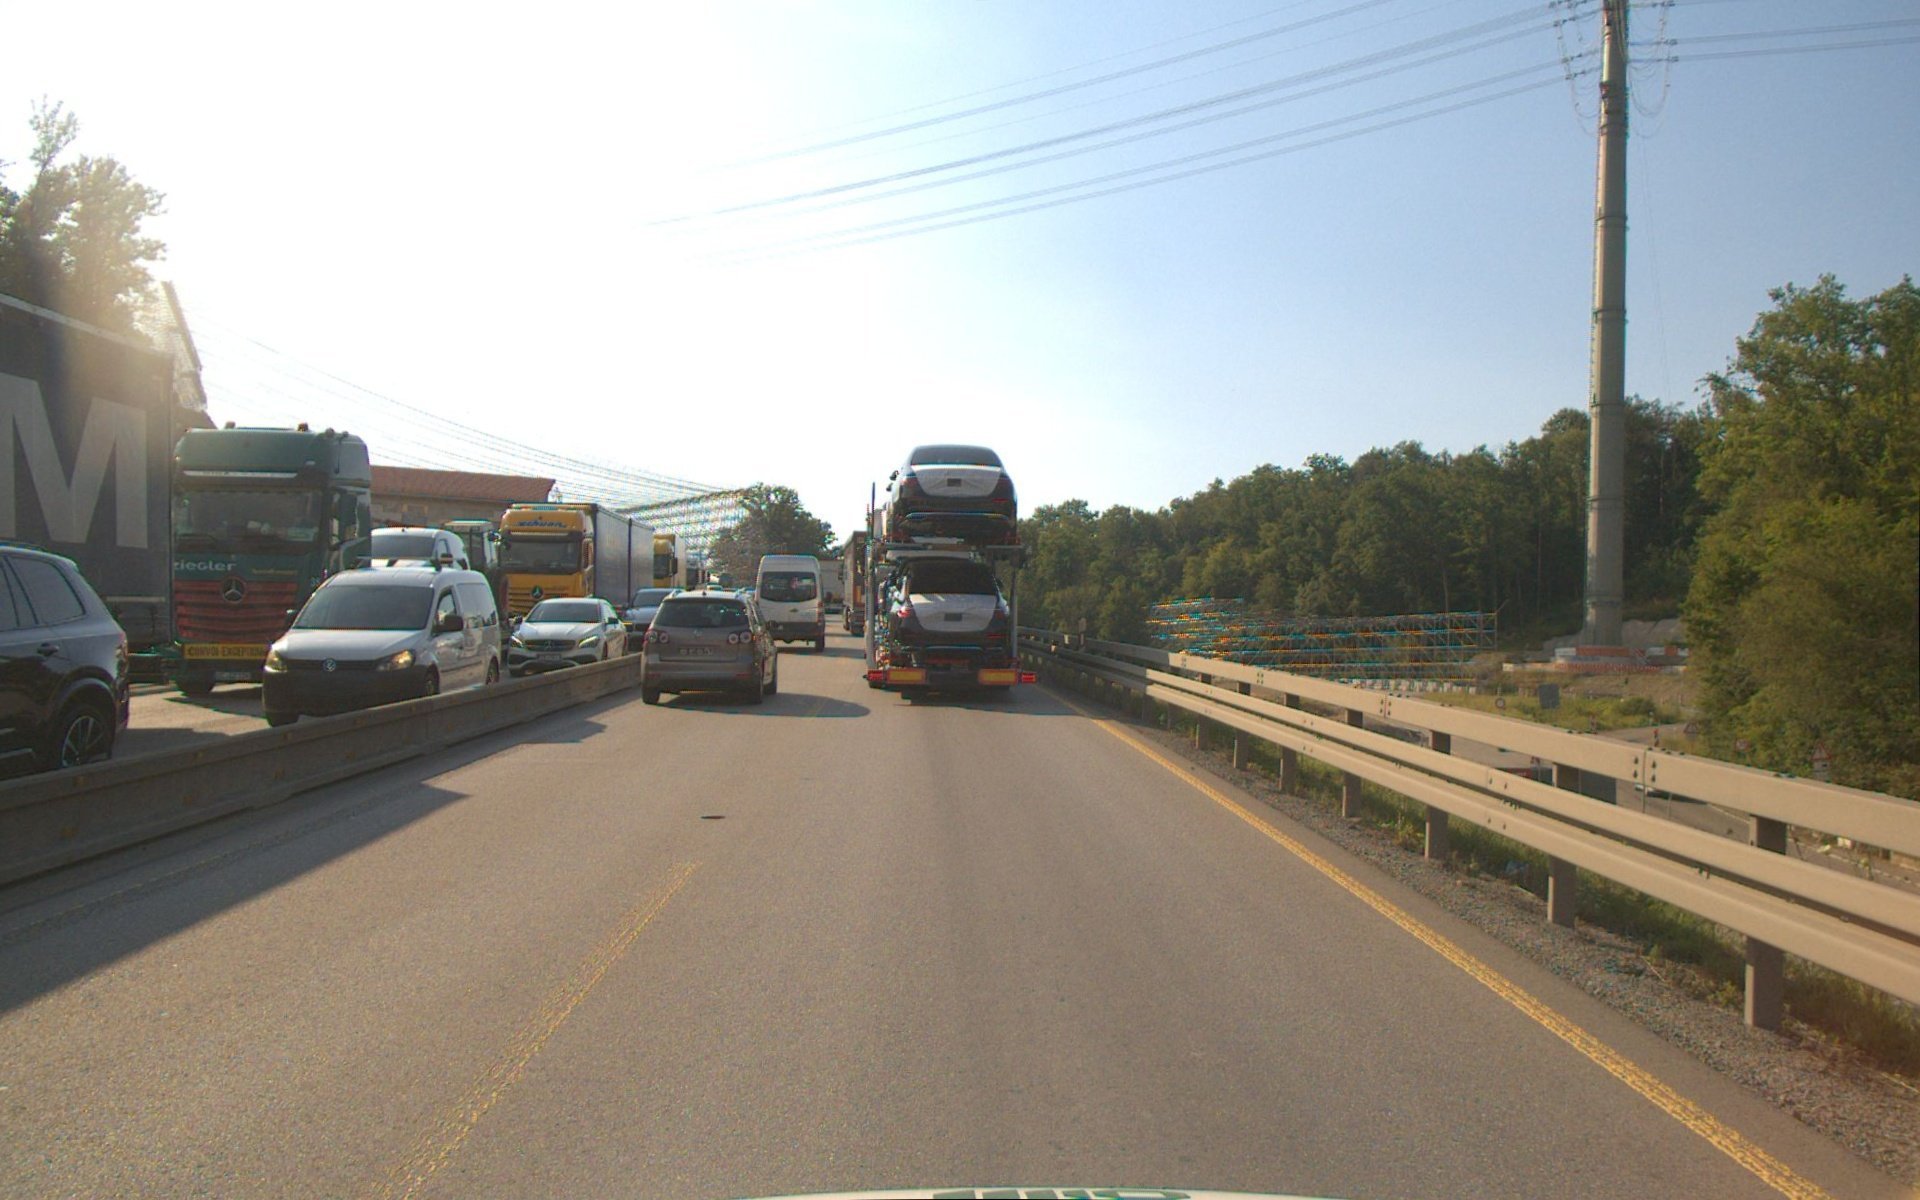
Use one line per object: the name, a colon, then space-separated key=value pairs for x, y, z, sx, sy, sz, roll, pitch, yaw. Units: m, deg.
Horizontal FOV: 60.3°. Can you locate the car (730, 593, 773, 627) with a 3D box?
car: x=-9.684 y=0.500 z=77.019 sx=1.753 sy=1.524 sz=4.720 roll=0 pitch=-1 yaw=-4

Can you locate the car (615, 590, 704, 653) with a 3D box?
car: x=-8.391 y=0.601 z=46.567 sx=1.921 sy=1.673 sz=4.844 roll=0 pitch=-1 yaw=-4

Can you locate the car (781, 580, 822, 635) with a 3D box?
car: x=-6.302 y=0.324 z=66.001 sx=1.498 sy=2.049 sz=3.995 roll=3 pitch=-1 yaw=-5

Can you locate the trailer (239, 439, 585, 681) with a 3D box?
trailer: x=-10.656 y=-0.617 z=34.703 sx=2.694 sy=3.882 sz=16.036 roll=-1 pitch=0 yaw=-3

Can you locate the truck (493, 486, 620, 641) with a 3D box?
truck: x=-11.576 y=-0.956 z=47.937 sx=2.648 sy=4.213 sz=5.788 roll=0 pitch=-1 yaw=-5

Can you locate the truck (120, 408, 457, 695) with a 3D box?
truck: x=-10.192 y=-0.654 z=26.024 sx=2.694 sy=3.872 sz=7.107 roll=-1 pitch=0 yaw=-3

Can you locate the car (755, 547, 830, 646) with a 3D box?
car: x=-4.776 y=-0.072 z=47.558 sx=1.940 sy=2.731 sz=4.144 roll=0 pitch=-1 yaw=-3

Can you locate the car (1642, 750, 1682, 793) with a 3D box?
car: x=31.285 y=7.625 z=73.770 sx=1.494 sy=1.486 sz=4.268 roll=0 pitch=-1 yaw=21

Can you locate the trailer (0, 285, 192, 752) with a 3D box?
trailer: x=-9.841 y=-0.727 z=12.535 sx=2.660 sy=4.195 sz=12.486 roll=-1 pitch=0 yaw=-2

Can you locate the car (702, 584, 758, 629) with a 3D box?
car: x=-9.045 y=0.284 z=65.412 sx=1.889 sy=1.731 sz=4.687 roll=0 pitch=-1 yaw=-4

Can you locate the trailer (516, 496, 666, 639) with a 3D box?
trailer: x=-12.304 y=-0.839 z=56.858 sx=2.661 sy=4.207 sz=16.735 roll=0 pitch=-1 yaw=-5

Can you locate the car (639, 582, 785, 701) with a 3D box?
car: x=-3.613 y=0.596 z=24.683 sx=1.666 sy=1.615 sz=4.145 roll=0 pitch=-1 yaw=-2

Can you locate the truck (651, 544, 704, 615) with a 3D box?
truck: x=-17.544 y=-1.140 z=103.468 sx=2.756 sy=4.040 sz=13.867 roll=0 pitch=-1 yaw=-8

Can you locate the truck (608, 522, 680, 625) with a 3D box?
truck: x=-13.559 y=-1.077 z=71.202 sx=2.642 sy=4.270 sz=4.392 roll=0 pitch=-1 yaw=-6

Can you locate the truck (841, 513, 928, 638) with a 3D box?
truck: x=-3.332 y=-1.004 z=69.599 sx=3.165 sy=4.758 sz=11.683 roll=1 pitch=1 yaw=-5

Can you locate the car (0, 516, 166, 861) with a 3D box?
car: x=-6.429 y=0.500 z=9.173 sx=1.796 sy=1.998 sz=4.897 roll=0 pitch=-1 yaw=-2

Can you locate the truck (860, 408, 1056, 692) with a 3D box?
truck: x=-0.137 y=-0.668 z=26.526 sx=2.812 sy=4.050 sz=5.768 roll=0 pitch=-1 yaw=-2

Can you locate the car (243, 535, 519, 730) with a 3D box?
car: x=-6.751 y=0.380 z=19.911 sx=1.788 sy=1.967 sz=5.125 roll=-2 pitch=-1 yaw=-4

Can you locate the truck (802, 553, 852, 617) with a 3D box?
truck: x=-10.394 y=-1.185 z=128.595 sx=3.578 sy=4.758 sz=11.681 roll=1 pitch=1 yaw=-6

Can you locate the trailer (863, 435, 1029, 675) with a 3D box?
trailer: x=-0.532 y=-0.650 z=35.657 sx=2.817 sy=4.064 sz=15.271 roll=0 pitch=-1 yaw=-2

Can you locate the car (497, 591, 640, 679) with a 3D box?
car: x=-7.532 y=0.653 z=32.262 sx=1.767 sy=1.548 sz=4.814 roll=-1 pitch=-1 yaw=-2
